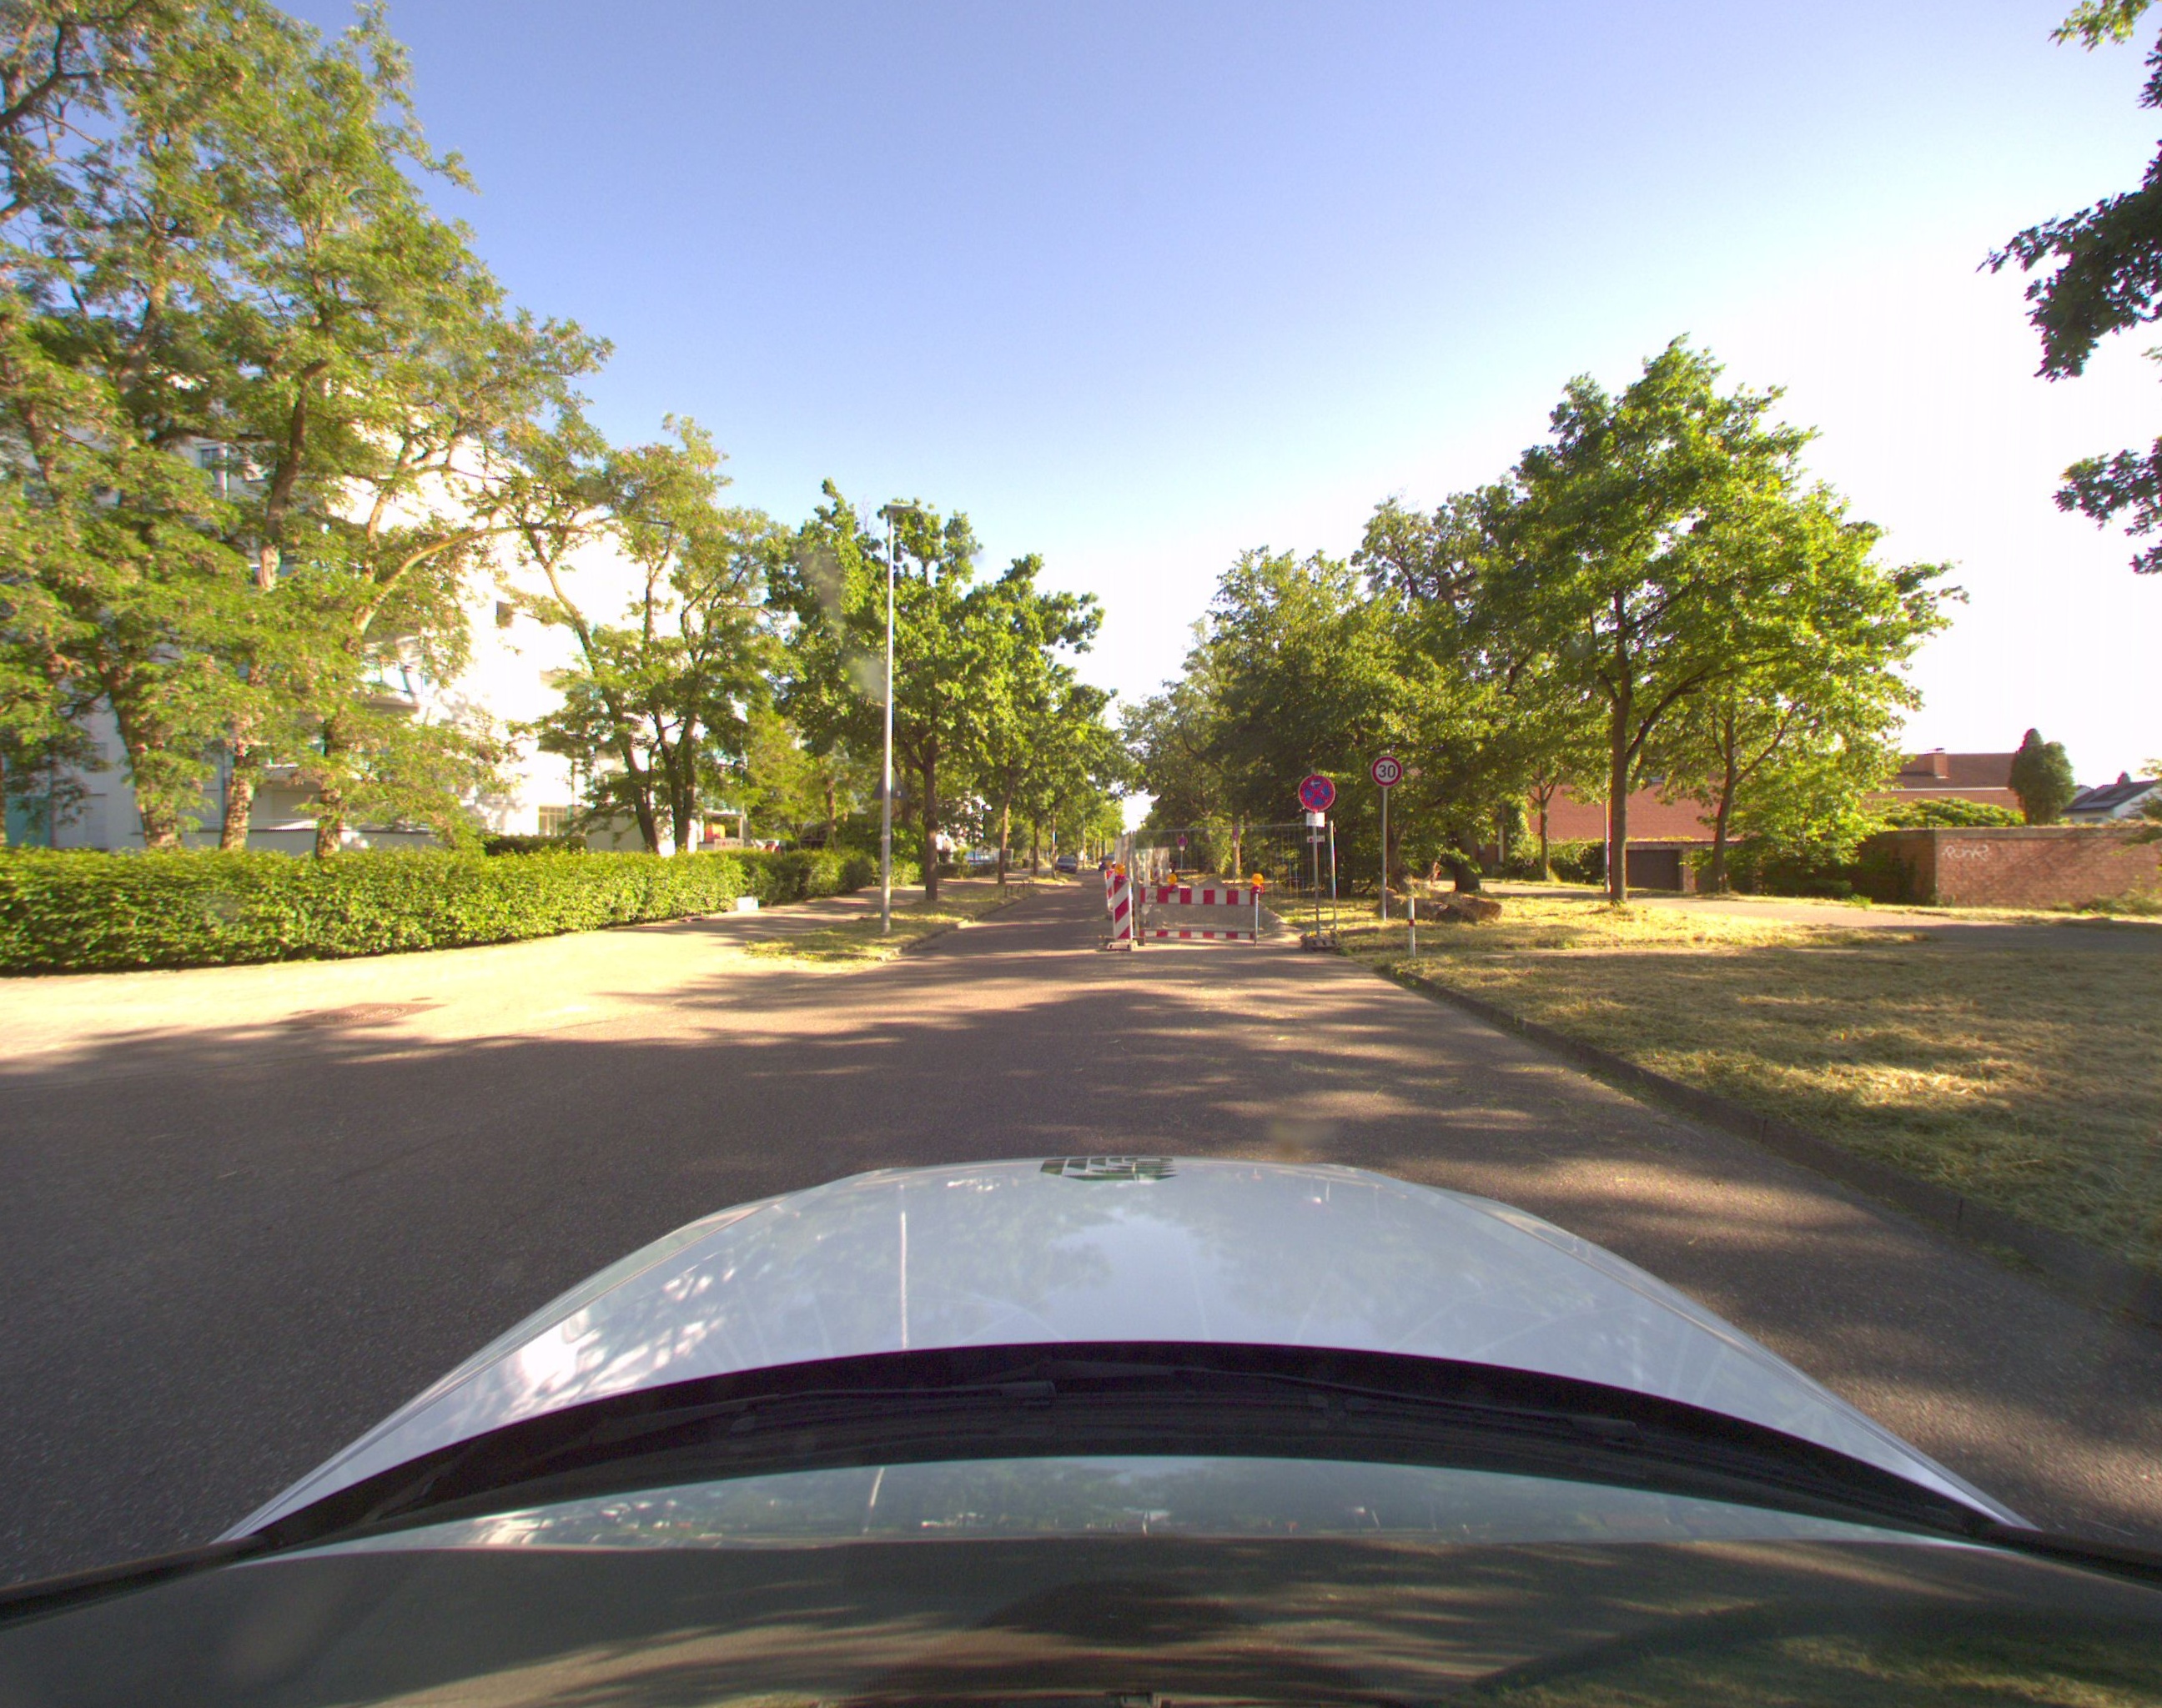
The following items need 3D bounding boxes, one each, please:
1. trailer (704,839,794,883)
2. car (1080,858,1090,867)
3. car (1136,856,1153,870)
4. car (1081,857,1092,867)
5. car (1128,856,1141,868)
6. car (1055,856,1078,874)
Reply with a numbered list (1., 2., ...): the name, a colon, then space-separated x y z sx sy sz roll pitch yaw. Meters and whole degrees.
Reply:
1. trailer: -16.174 0.319 39.925 1.964 2.042 4.442 0 0 10
2. car: 0.603 1.212 115.611 1.356 1.302 3.482 1 -1 1
3. car: 6.070 0.874 78.051 1.356 1.302 3.482 1 -1 1
4. car: 0.731 1.040 103.857 1.356 1.302 3.482 1 -1 1
5. car: 5.958 0.925 91.047 1.356 1.302 3.482 1 -1 1
6. car: -1.203 0.876 68.598 1.744 1.478 3.838 0 0 2
